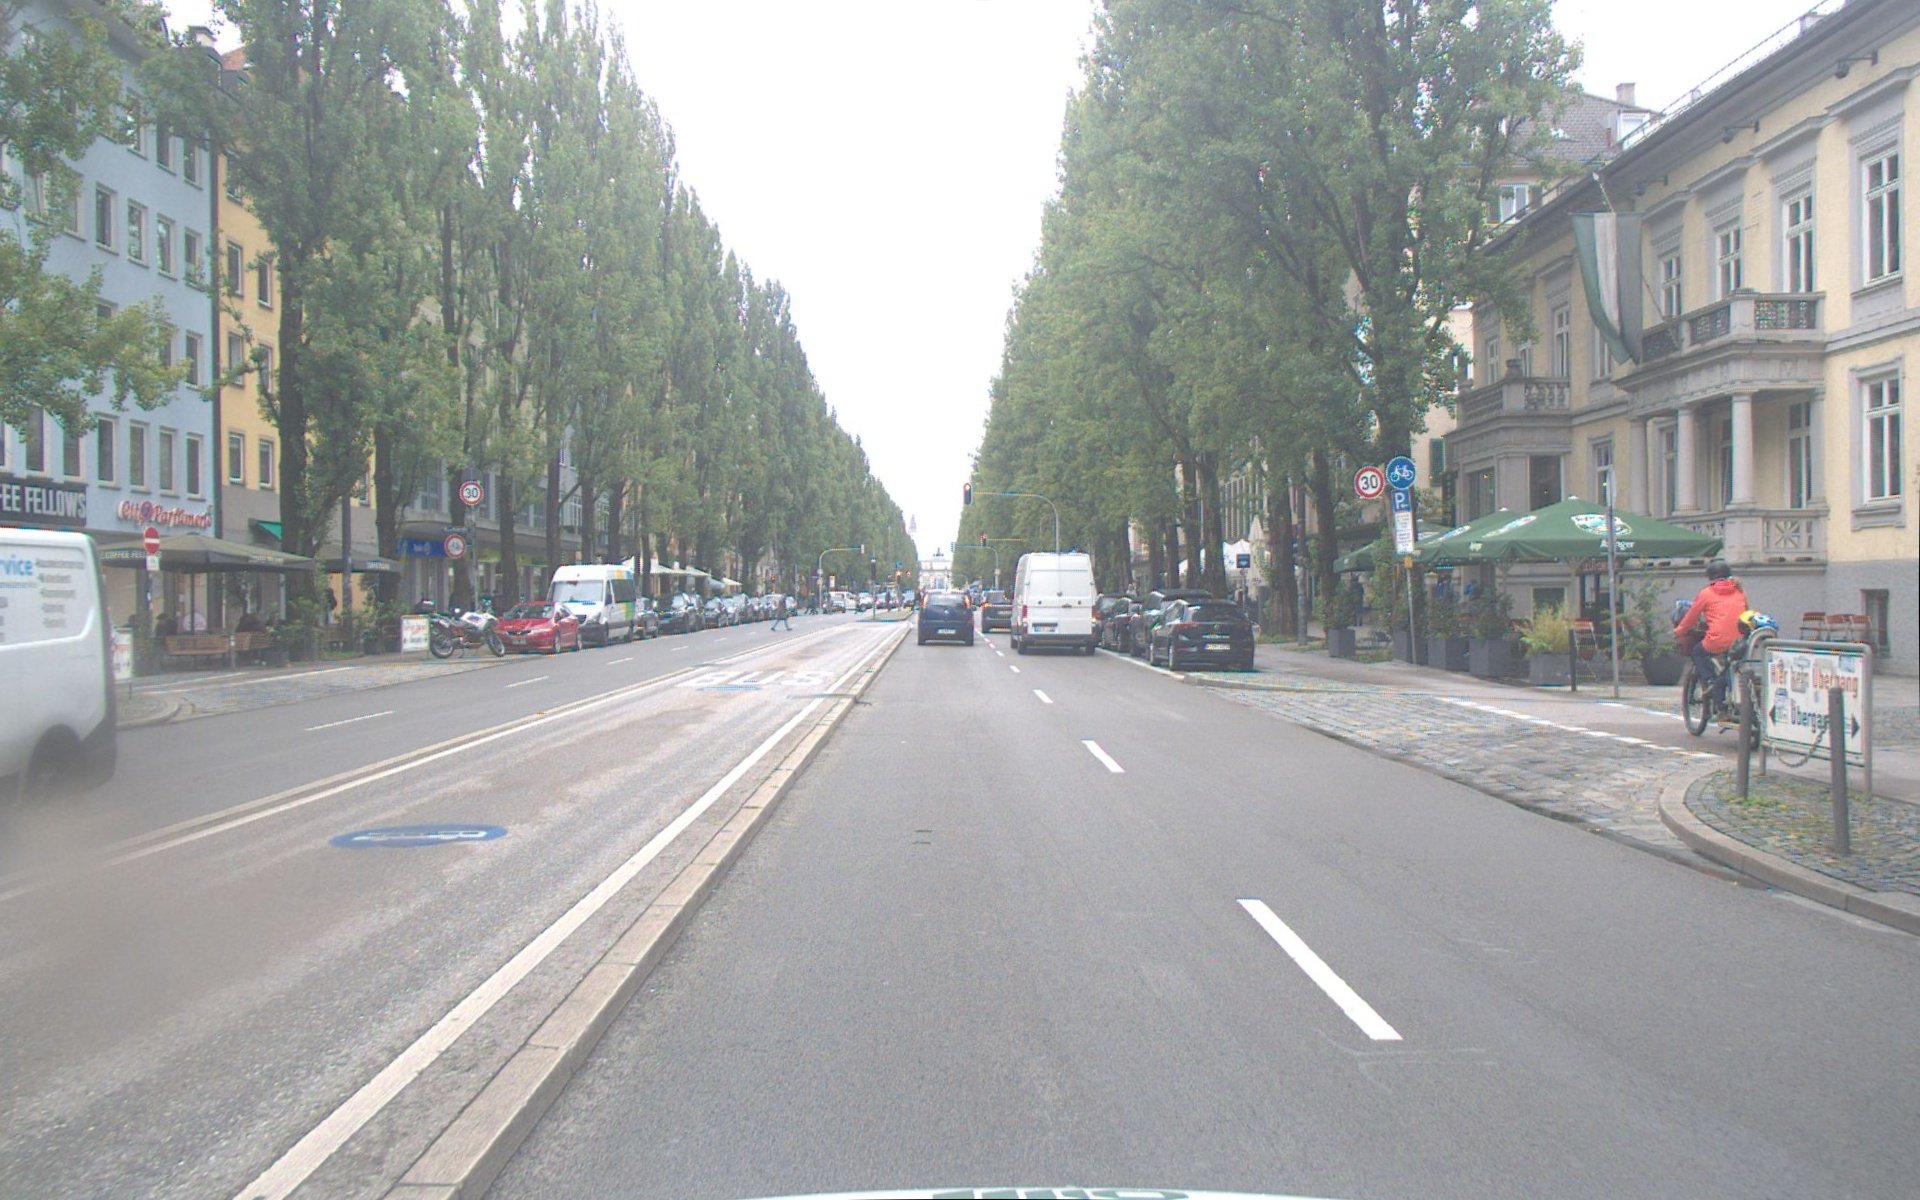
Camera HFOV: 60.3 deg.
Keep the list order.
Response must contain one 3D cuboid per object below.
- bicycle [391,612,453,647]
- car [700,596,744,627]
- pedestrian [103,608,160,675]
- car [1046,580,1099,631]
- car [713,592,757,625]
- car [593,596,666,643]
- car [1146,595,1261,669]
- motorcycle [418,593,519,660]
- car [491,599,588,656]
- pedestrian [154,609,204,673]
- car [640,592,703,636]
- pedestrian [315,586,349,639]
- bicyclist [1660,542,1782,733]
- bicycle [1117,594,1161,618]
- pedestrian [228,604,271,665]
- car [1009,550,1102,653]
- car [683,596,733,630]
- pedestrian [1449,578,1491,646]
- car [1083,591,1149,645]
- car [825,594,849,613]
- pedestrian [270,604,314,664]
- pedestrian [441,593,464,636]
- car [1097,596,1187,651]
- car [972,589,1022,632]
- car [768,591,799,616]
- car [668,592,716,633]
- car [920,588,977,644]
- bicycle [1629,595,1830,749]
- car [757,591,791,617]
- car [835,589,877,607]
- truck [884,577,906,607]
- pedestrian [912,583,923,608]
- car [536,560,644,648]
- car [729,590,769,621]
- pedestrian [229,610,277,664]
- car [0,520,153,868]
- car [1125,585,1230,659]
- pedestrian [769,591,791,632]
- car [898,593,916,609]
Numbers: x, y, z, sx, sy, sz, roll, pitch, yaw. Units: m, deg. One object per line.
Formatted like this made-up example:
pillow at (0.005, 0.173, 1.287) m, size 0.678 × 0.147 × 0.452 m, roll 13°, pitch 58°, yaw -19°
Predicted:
bicycle at (-16.556, 0.898, 50.934) m, size 1.738 × 1.044 × 0.421 m, roll -1°, pitch 0°, yaw -4°
car at (-12.269, 0.580, 85.523) m, size 1.698 × 1.450 × 4.142 m, roll -2°, pitch 0°, yaw -1°
pedestrian at (-17.779, 0.885, 35.507) m, size 0.683 × 1.386 × 0.950 m, roll -1°, pitch 0°, yaw 2°
car at (4.528, 0.198, 67.178) m, size 1.751 × 1.980 × 4.729 m, roll 0°, pitch 0°, yaw -1°
car at (-12.325, 0.434, 90.714) m, size 1.828 × 1.694 × 4.400 m, roll -2°, pitch 0°, yaw -1°
car at (-12.128, 0.672, 60.970) m, size 1.828 × 1.579 × 4.413 m, roll -2°, pitch 0°, yaw -1°
car at (5.037, 0.620, 34.672) m, size 1.660 × 1.441 × 3.949 m, roll 0°, pitch 0°, yaw -3°
motorcycle at (-12.018, 0.633, 40.508) m, size 2.329 × 1.591 × 0.703 m, roll 0°, pitch 0°, yaw -44°
car at (-11.867, 0.751, 46.921) m, size 1.702 × 1.444 × 4.147 m, roll -2°, pitch 0°, yaw -1°
pedestrian at (-17.447, 0.911, 36.947) m, size 0.683 × 1.386 × 0.819 m, roll -1°, pitch 0°, yaw 2°
car at (-12.041, 0.559, 69.230) m, size 1.828 × 1.693 × 4.610 m, roll -2°, pitch 0°, yaw -1°
pedestrian at (-20.158, 0.392, 53.119) m, size 0.683 × 1.664 × 0.726 m, roll -1°, pitch 0°, yaw 23°
bicyclist at (7.391, 0.349, 16.092) m, size 0.752 × 1.797 × 0.885 m, roll -1°, pitch 0°, yaw -1°
bicycle at (9.228, 0.304, 85.331) m, size 2.182 × 1.225 × 0.626 m, roll -1°, pitch 0°, yaw -3°
pedestrian at (-16.646, 0.802, 38.740) m, size 0.699 × 1.386 × 0.699 m, roll -1°, pitch 0°, yaw -3°
car at (2.471, 0.021, 44.420) m, size 2.021 × 2.536 × 6.729 m, roll 0°, pitch 0°, yaw -1°
car at (-12.223, 0.602, 80.451) m, size 1.762 × 1.514 × 4.349 m, roll -2°, pitch 0°, yaw -1°
pedestrian at (12.920, 0.294, 41.930) m, size 0.781 × 1.707 × 0.877 m, roll -1°, pitch 0°, yaw -1°
car at (4.583, 0.504, 48.960) m, size 1.560 × 1.544 × 2.728 m, roll 1°, pitch 0°, yaw -3°
car at (-10.161, 0.282, 136.804) m, size 1.663 × 1.488 × 4.712 m, roll -2°, pitch 0°, yaw -1°
pedestrian at (-15.930, 0.799, 39.462) m, size 0.683 × 1.386 × 0.848 m, roll -1°, pitch 0°, yaw -2°
pedestrian at (-21.507, 0.616, 70.092) m, size 0.683 × 1.826 × 0.727 m, roll -1°, pitch 0°, yaw 3°
car at (4.914, 0.609, 45.177) m, size 1.676 × 1.418 × 4.339 m, roll 0°, pitch 0°, yaw -5°
car at (1.416, 0.385, 64.755) m, size 1.858 × 1.650 × 3.999 m, roll 0°, pitch 0°, yaw -1°
car at (-12.826, 0.215, 120.527) m, size 1.828 × 1.694 × 4.119 m, roll -2°, pitch 0°, yaw -1°
car at (-12.073, 0.535, 74.661) m, size 1.676 × 1.751 × 3.919 m, roll -2°, pitch 0°, yaw -4°
car at (-0.360, 0.452, 49.531) m, size 1.637 × 1.596 × 3.999 m, roll 0°, pitch 0°, yaw -1°
bicycle at (7.395, 0.643, 16.055) m, size 0.757 × 1.372 × 2.449 m, roll -1°, pitch 0°, yaw -1°
car at (-12.718, 0.250, 113.254) m, size 1.828 × 1.694 × 4.119 m, roll -2°, pitch 0°, yaw -1°
car at (-9.325, -0.183, 148.162) m, size 3.310 × 1.588 × 1.727 m, roll -1°, pitch 0°, yaw -24°
truck at (-7.724, -0.972, 197.310) m, size 2.334 × 3.405 × 7.109 m, roll -1°, pitch 0°, yaw -1°
pedestrian at (-3.226, -0.358, 125.566) m, size 0.707 × 1.859 × 0.885 m, roll 1°, pitch -1°, yaw -11°
car at (-11.943, 0.104, 53.874) m, size 1.965 × 2.612 × 6.911 m, roll -2°, pitch 0°, yaw -1°
car at (-12.454, 0.291, 97.592) m, size 1.828 × 1.694 × 4.119 m, roll -2°, pitch 0°, yaw -1°
pedestrian at (-16.258, 0.840, 38.063) m, size 0.799 × 1.203 × 0.699 m, roll -1°, pitch 0°, yaw -3°
car at (-6.360, 0.562, 8.579) m, size 1.854 × 1.966 × 5.071 m, roll -2°, pitch 0°, yaw -1°
car at (5.181, 0.495, 39.873) m, size 1.767 × 1.666 × 4.445 m, roll 0°, pitch 0°, yaw -2°
pedestrian at (-7.607, 0.467, 69.907) m, size 0.843 × 1.714 × 0.626 m, roll -1°, pitch 0°, yaw -4°
car at (-5.323, 0.098, 166.147) m, size 1.699 × 1.491 × 3.364 m, roll -1°, pitch 0°, yaw -1°
